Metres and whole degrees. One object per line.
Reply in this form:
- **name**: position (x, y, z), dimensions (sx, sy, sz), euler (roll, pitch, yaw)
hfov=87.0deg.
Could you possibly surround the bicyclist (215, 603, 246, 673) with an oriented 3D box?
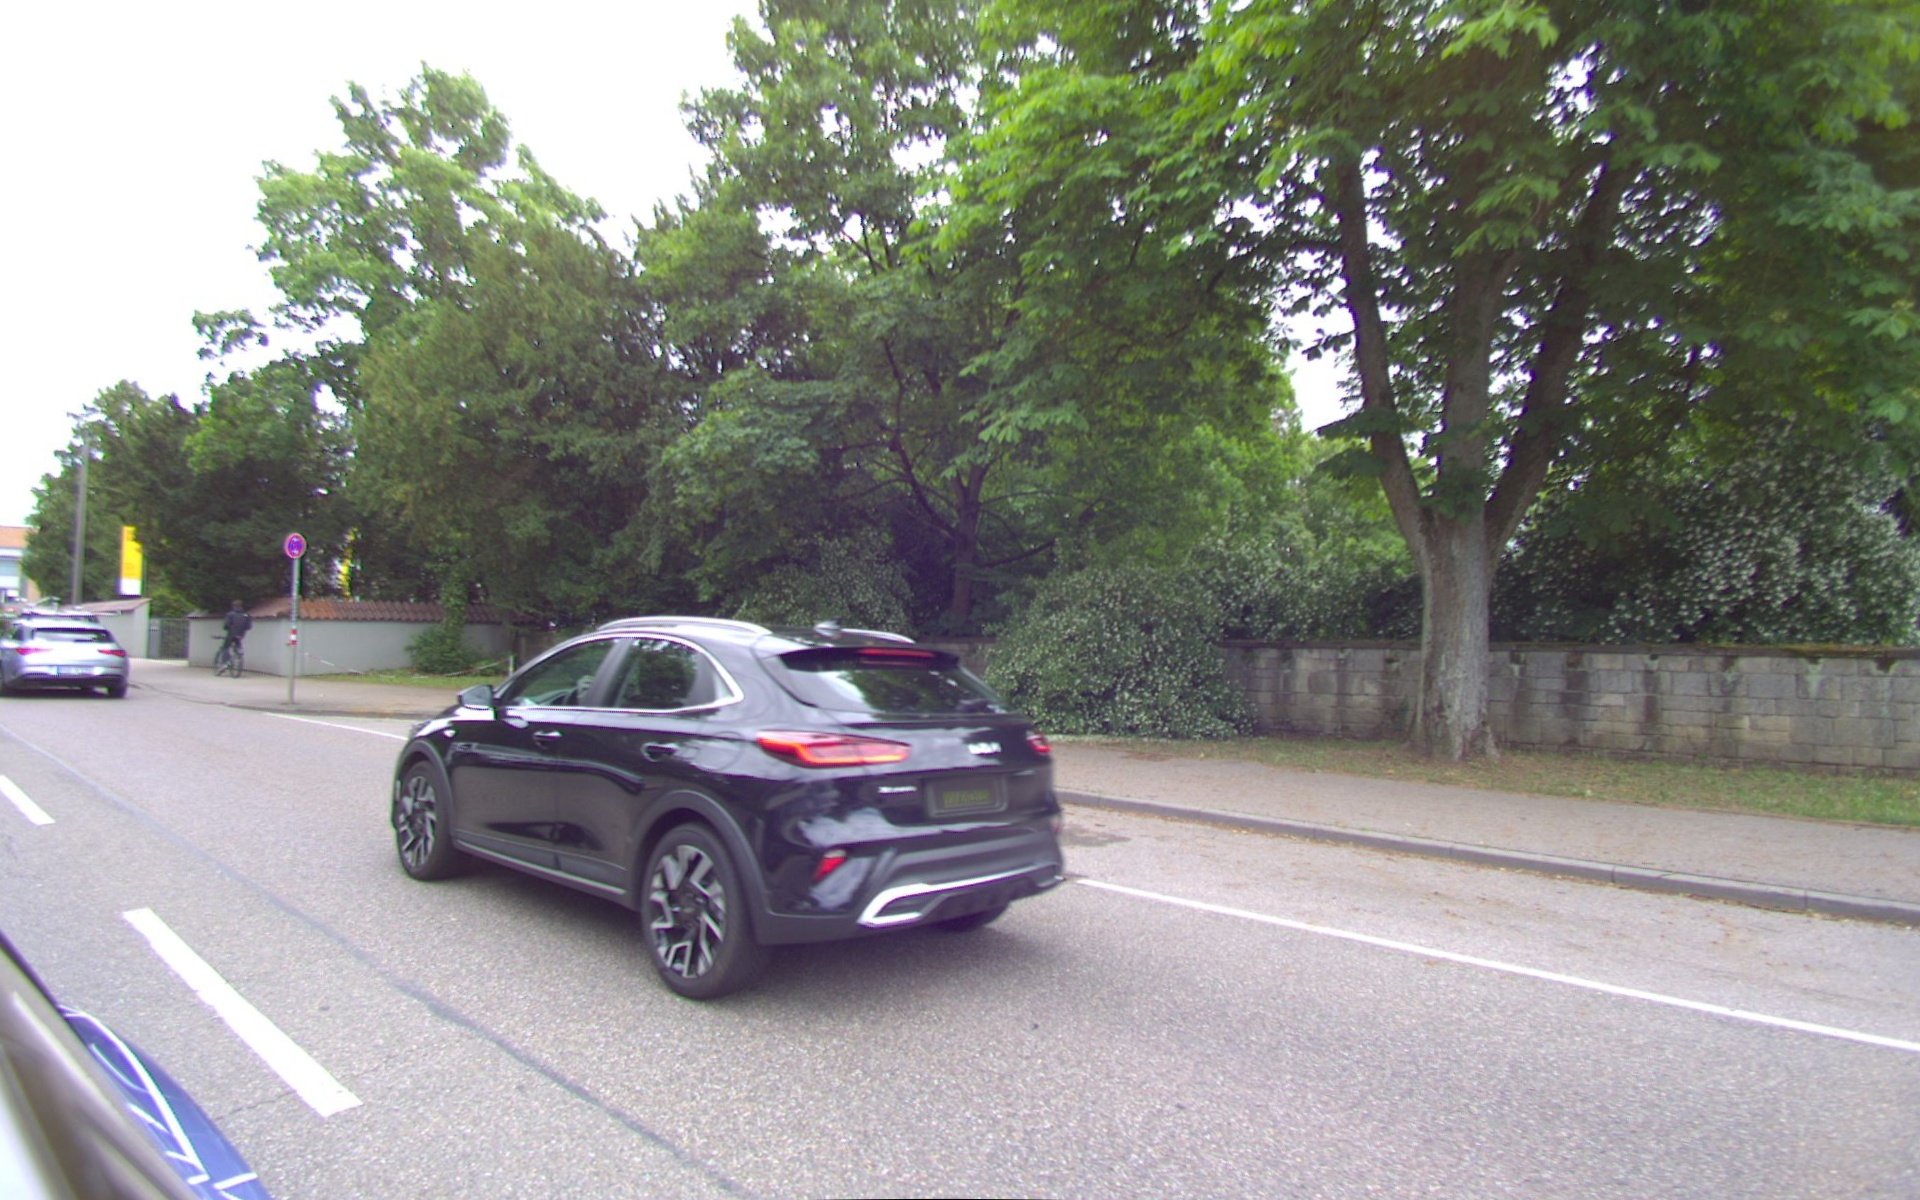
- **bicyclist**: position (-18.016, 0.935, 24.979), dimensions (0.588, 1.697, 0.482), euler (-1, 0, 41)

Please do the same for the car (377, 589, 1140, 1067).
- **car**: position (-1.269, 0.779, 5.159), dimensions (3.998, 1.495, 1.683), euler (0, -4, 41)

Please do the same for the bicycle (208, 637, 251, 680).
- **bicycle**: position (-18.121, 1.428, 25.088), dimensions (1.748, 0.971, 0.490), euler (0, 1, 42)

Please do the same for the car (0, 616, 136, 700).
- **car**: position (-17.296, 1.041, 19.130), dimensions (4.410, 1.413, 1.739), euler (0, -4, 39)
